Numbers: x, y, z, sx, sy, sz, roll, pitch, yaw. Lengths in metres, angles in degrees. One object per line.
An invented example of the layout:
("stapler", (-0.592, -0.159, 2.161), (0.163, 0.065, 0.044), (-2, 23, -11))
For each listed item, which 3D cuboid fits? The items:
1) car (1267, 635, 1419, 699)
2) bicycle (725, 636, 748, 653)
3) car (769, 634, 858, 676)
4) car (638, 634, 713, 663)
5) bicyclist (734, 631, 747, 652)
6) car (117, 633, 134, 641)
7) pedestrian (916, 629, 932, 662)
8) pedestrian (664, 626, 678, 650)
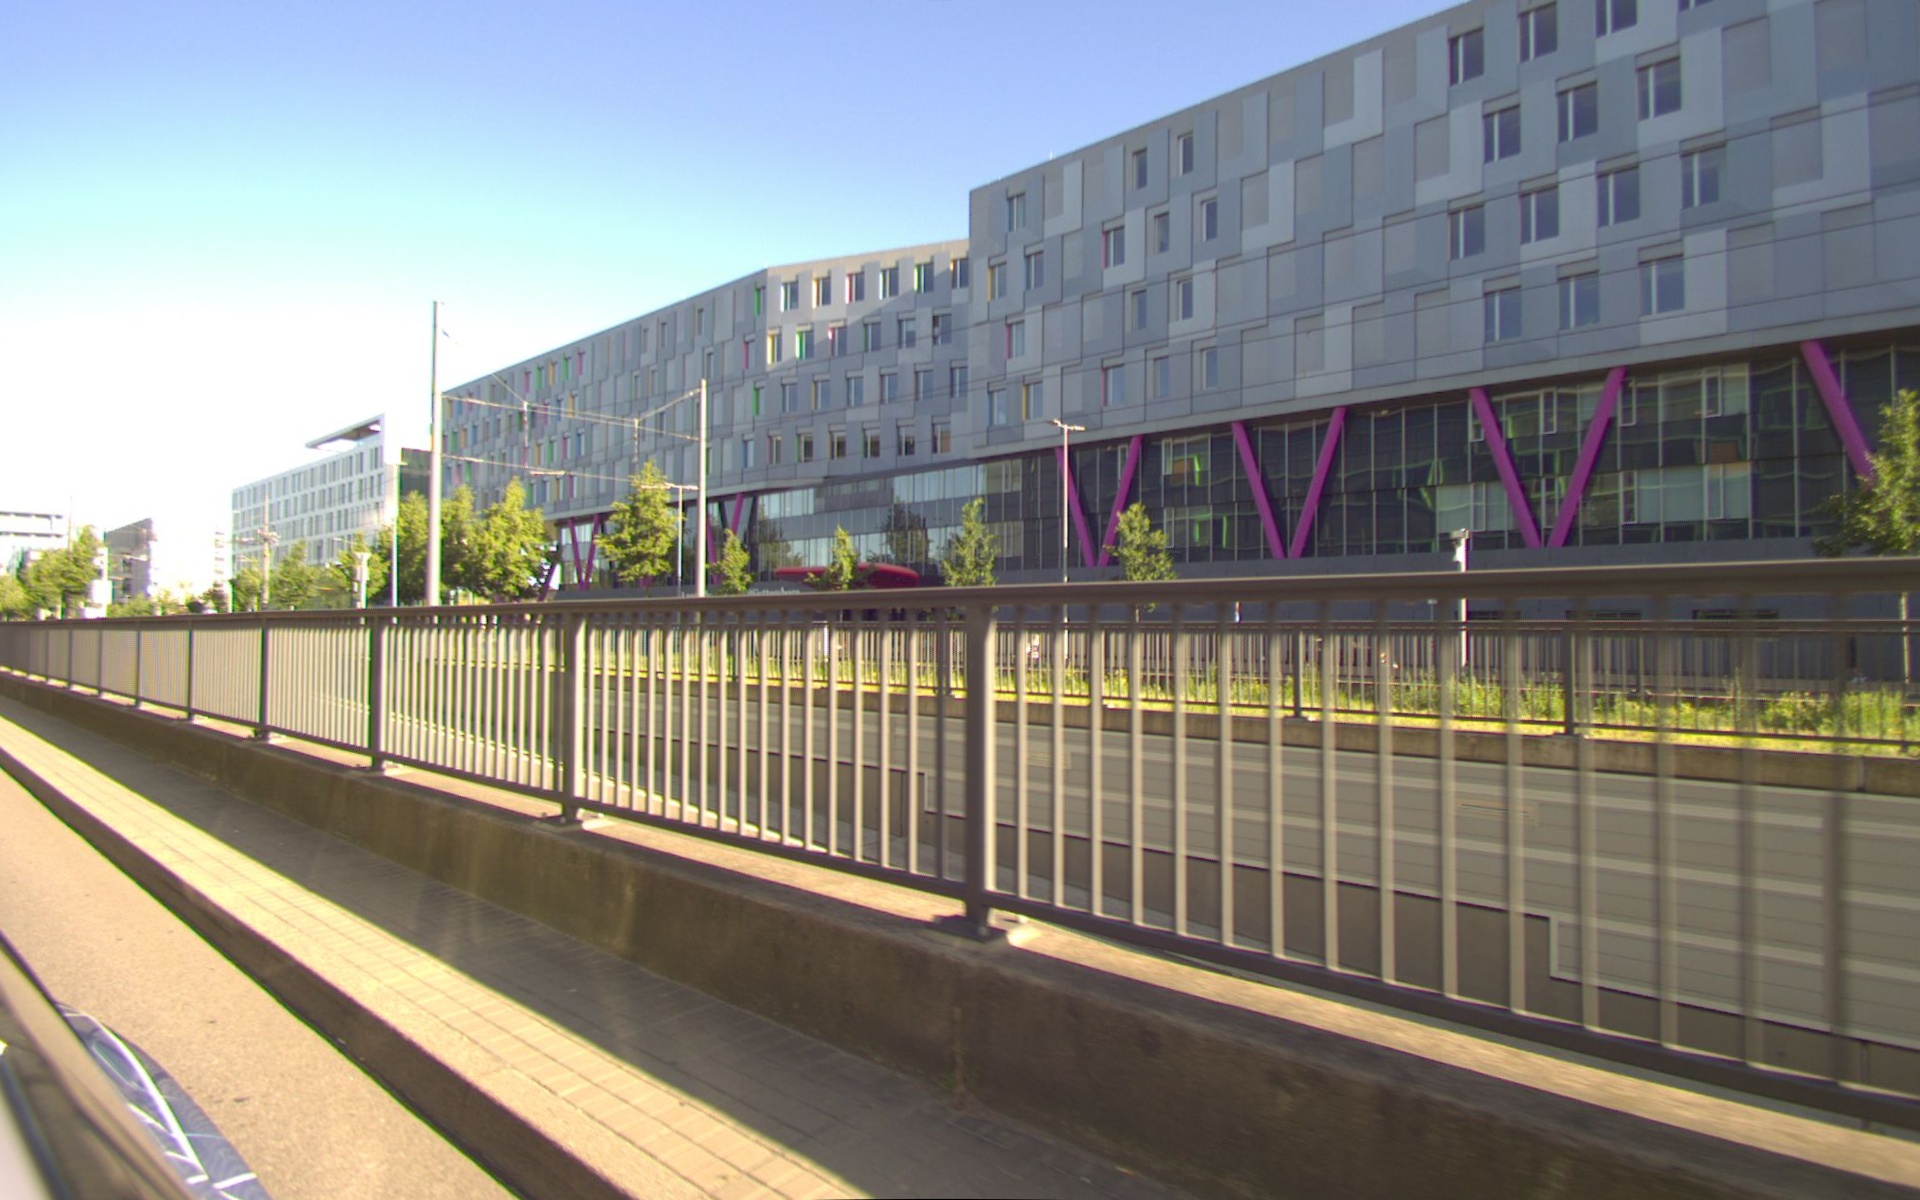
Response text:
("car", (11.801, 2.024, 31.309), (3.998, 1.853, 1.973), (-2, -3, 41))
("bicycle", (-15.980, 3.147, 72.354), (1.975, 1.181, 0.514), (-2, -3, 42))
("car", (-6.849, 2.522, 47.130), (3.998, 1.853, 1.973), (-2, -3, 41))
("car", (-15.618, 2.651, 55.493), (4.719, 1.538, 1.778), (-2, -4, 43))
("bicyclist", (-15.730, 2.987, 72.638), (0.763, 1.507, 0.552), (-2, -3, 42))
("car", (-149.910, 6.664, 181.818), (4.000, 1.365, 1.850), (-2, -1, 43))
("pedestrian", (-2.179, 2.754, 61.543), (0.689, 2.029, 0.728), (-2, -2, 42))
("pedestrian", (-22.436, 2.932, 78.556), (0.871, 1.836, 0.713), (-2, -3, 42))
